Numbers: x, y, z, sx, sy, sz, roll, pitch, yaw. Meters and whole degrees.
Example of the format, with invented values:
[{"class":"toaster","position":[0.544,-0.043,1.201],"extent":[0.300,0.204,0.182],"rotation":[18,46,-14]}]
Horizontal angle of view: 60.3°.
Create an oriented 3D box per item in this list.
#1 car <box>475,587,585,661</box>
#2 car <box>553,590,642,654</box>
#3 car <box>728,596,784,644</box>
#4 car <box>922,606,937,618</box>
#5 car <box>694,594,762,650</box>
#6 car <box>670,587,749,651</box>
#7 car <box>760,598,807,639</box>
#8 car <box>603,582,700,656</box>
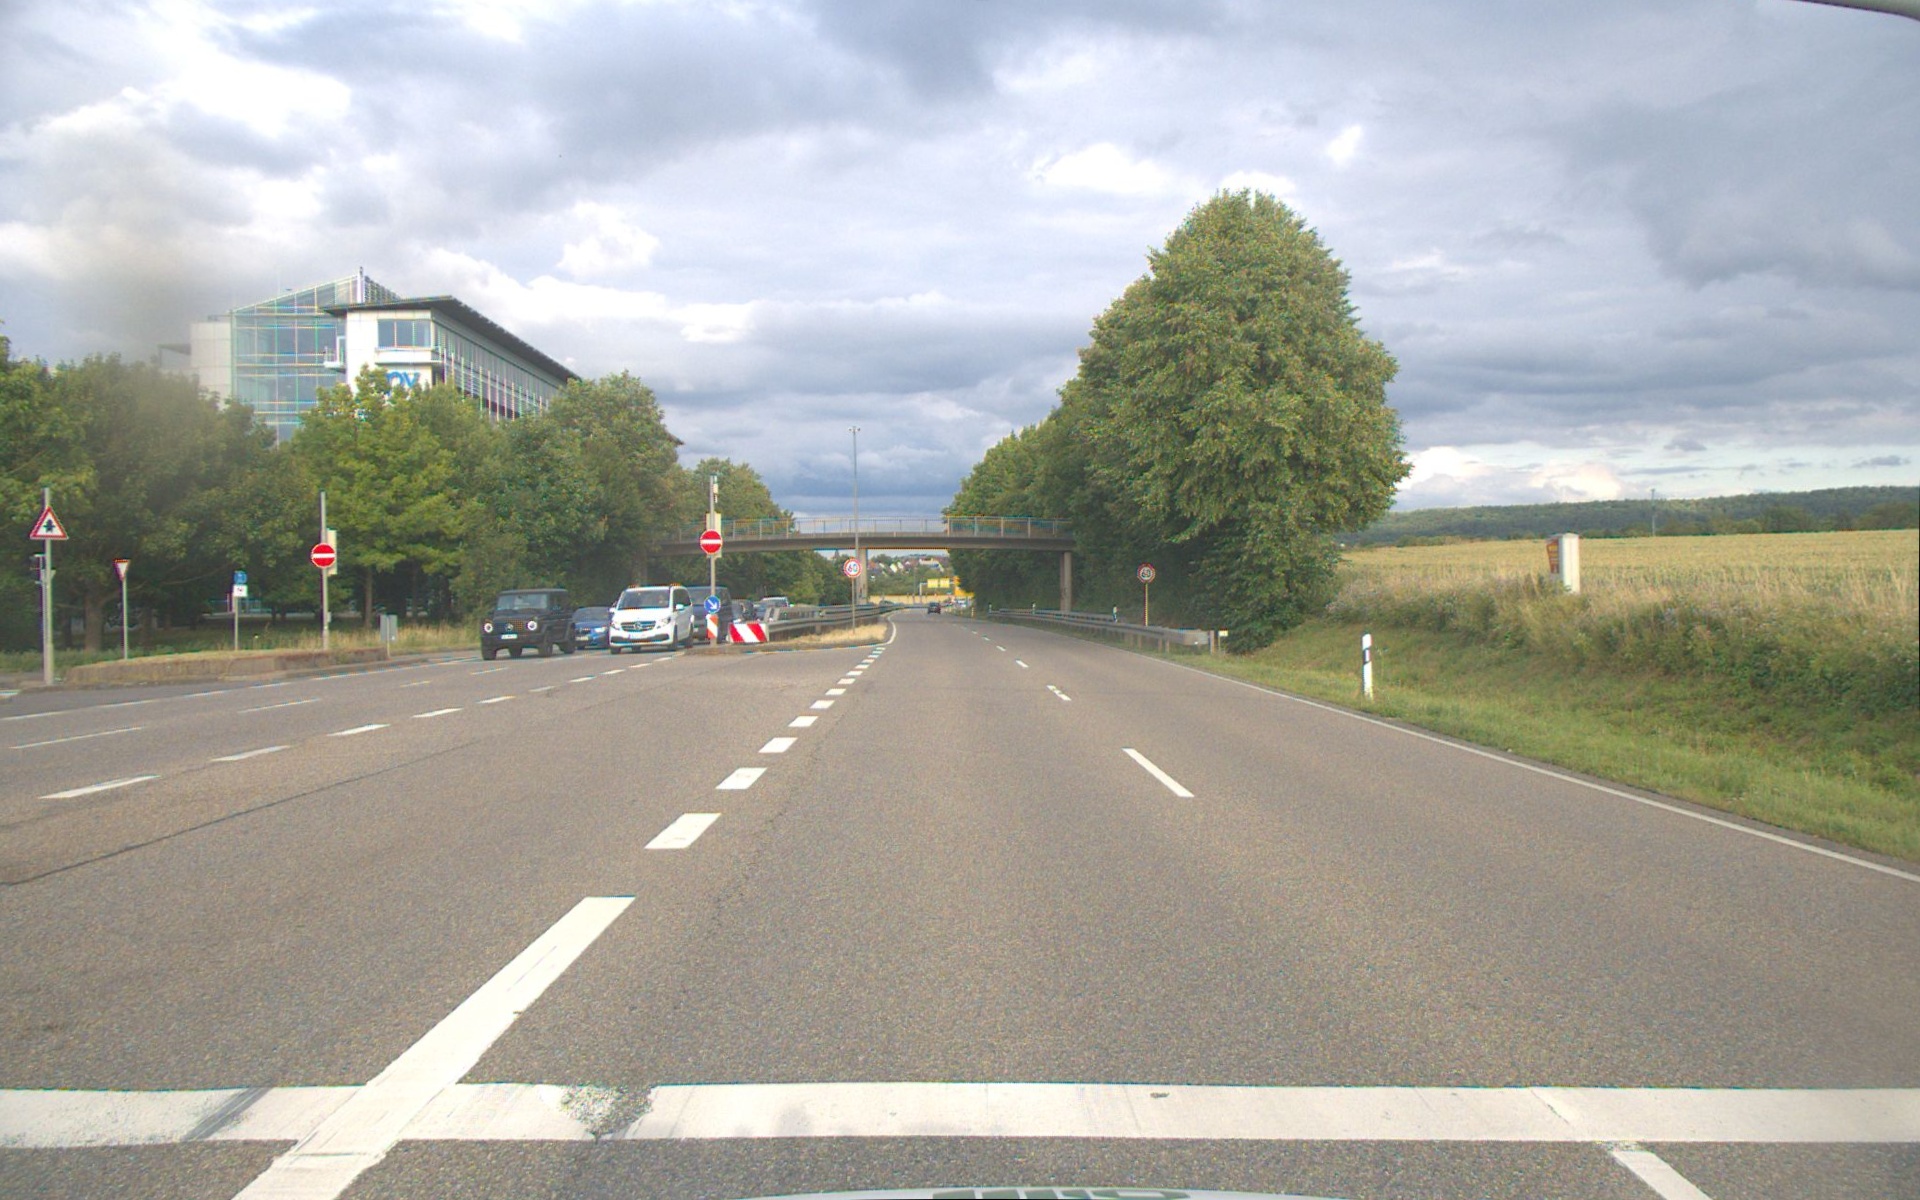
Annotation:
[{"class":"car","position":[-12.663,0.685,49.042],"extent":[2.041,2.049,5.214],"rotation":[1,0,-2]},{"class":"car","position":[-12.328,0.731,56.548],"extent":[2.041,2.049,5.214],"rotation":[1,0,-2]},{"class":"car","position":[-9.250,0.895,75.485],"extent":[2.041,2.049,5.214],"rotation":[1,0,-2]},{"class":"car","position":[-4.249,1.669,228.202],"extent":[1.843,1.579,3.996],"rotation":[1,0,-5]},{"class":"car","position":[-9.002,0.843,64.510],"extent":[2.041,2.049,5.214],"rotation":[1,0,-2]},{"class":"car","position":[-8.563,0.642,56.953],"extent":[2.041,2.049,5.214],"rotation":[1,0,-2]},{"class":"car","position":[-9.324,0.957,87.630],"extent":[2.041,2.049,5.214],"rotation":[1,0,-2]},{"class":"car","position":[-9.103,0.546,49.209],"extent":[2.041,2.049,5.214],"rotation":[1,0,-2]}]
